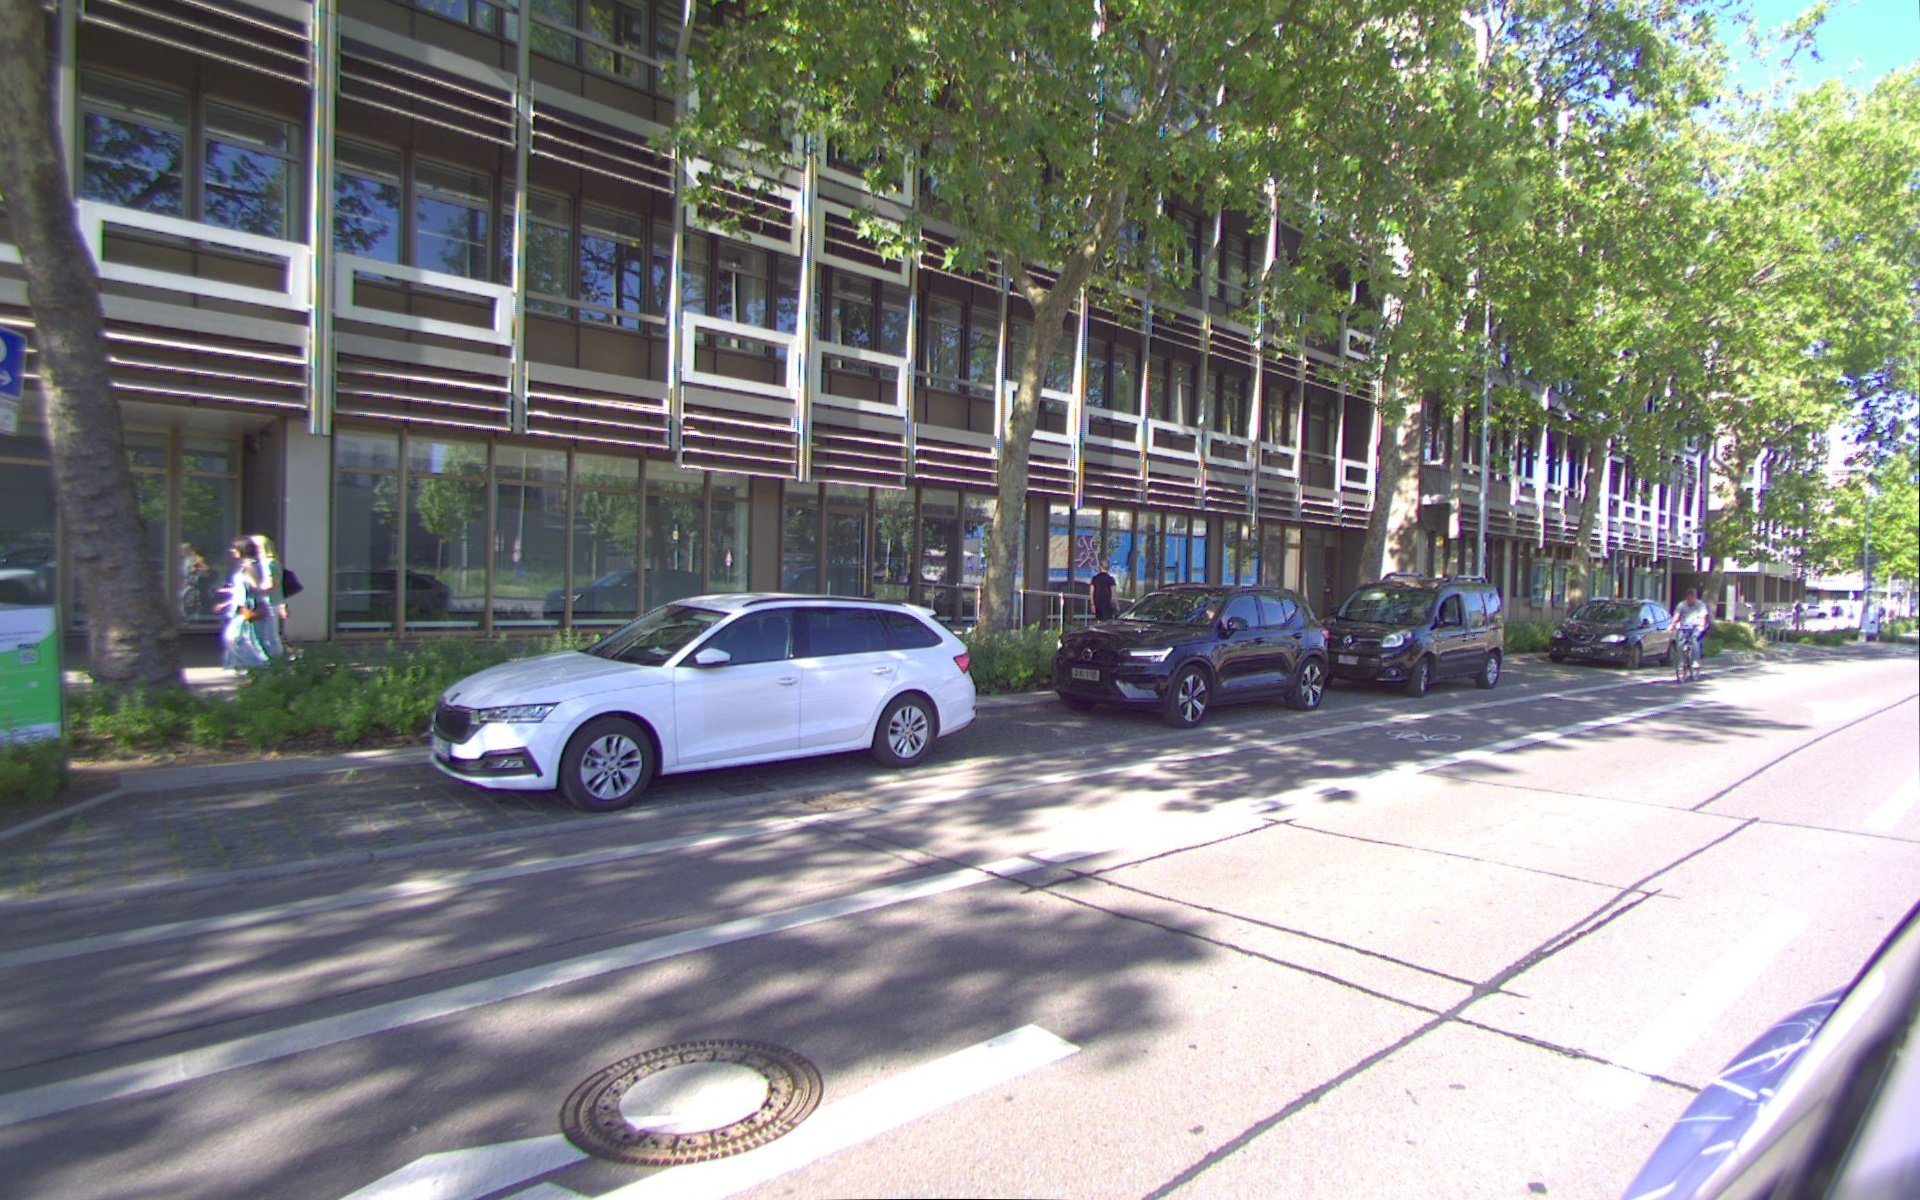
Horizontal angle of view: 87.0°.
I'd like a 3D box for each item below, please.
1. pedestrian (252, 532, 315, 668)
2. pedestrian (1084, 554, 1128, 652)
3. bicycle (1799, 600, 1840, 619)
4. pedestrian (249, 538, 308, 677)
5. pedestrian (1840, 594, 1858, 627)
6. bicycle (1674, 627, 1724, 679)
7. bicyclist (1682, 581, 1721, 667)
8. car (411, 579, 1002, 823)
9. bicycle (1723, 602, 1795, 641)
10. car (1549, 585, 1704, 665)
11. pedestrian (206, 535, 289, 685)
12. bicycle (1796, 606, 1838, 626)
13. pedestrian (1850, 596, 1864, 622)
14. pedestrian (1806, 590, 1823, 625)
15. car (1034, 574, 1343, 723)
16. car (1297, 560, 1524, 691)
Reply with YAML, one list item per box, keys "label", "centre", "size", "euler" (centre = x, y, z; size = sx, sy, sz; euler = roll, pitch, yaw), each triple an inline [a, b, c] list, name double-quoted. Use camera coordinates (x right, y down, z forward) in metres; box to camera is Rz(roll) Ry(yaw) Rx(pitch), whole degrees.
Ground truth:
- label: "pedestrian"
  centre: [-8.338, -0.010, 12.469]
  size: [0.563, 1.623, 0.554]
  euler: [1, 0, -41]
- label: "pedestrian"
  centre: [2.971, 0.058, 20.652]
  size: [0.547, 1.941, 0.678]
  euler: [0, 0, -40]
- label: "bicycle"
  centre: [54.088, 0.576, 63.717]
  size: [0.419, 1.023, 1.863]
  euler: [1, 3, -39]
- label: "pedestrian"
  centre: [-8.014, 0.084, 11.902]
  size: [0.314, 1.604, 0.494]
  euler: [1, 0, 40]
- label: "pedestrian"
  centre: [47.802, 0.539, 54.414]
  size: [0.789, 1.749, 0.648]
  euler: [1, 0, -42]
- label: "bicycle"
  centre: [14.373, 1.006, 19.661]
  size: [0.497, 0.917, 2.161]
  euler: [0, -1, 44]
- label: "bicyclist"
  centre: [14.413, 0.457, 19.679]
  size: [0.513, 1.621, 0.528]
  euler: [2, 1, 44]
- label: "car"
  centre: [-1.883, 0.633, 8.478]
  size: [4.519, 1.511, 1.707]
  euler: [1, 1, -41]
- label: "bicycle"
  centre: [28.784, 0.772, 36.495]
  size: [0.569, 1.252, 1.939]
  euler: [1, 3, -43]
- label: "car"
  centre: [15.837, 0.551, 23.966]
  size: [4.552, 1.663, 1.709]
  euler: [1, 3, -39]
- label: "pedestrian"
  centre: [-7.897, 0.099, 11.220]
  size: [0.505, 1.604, 0.626]
  euler: [1, 0, 41]
- label: "bicycle"
  centre: [53.292, 0.987, 62.933]
  size: [0.419, 1.111, 1.863]
  euler: [1, 3, -39]
- label: "pedestrian"
  centre: [53.242, 0.528, 60.077]
  size: [0.723, 1.493, 0.511]
  euler: [1, 0, -42]
- label: "pedestrian"
  centre: [42.703, 0.368, 50.579]
  size: [0.760, 1.722, 0.511]
  euler: [1, 0, -42]
- label: "car"
  centre: [2.998, 0.505, 12.796]
  size: [4.119, 1.583, 1.707]
  euler: [0, 1, -41]
- label: "car"
  centre: [7.383, 0.350, 16.398]
  size: [4.118, 1.811, 1.708]
  euler: [1, 3, -41]
